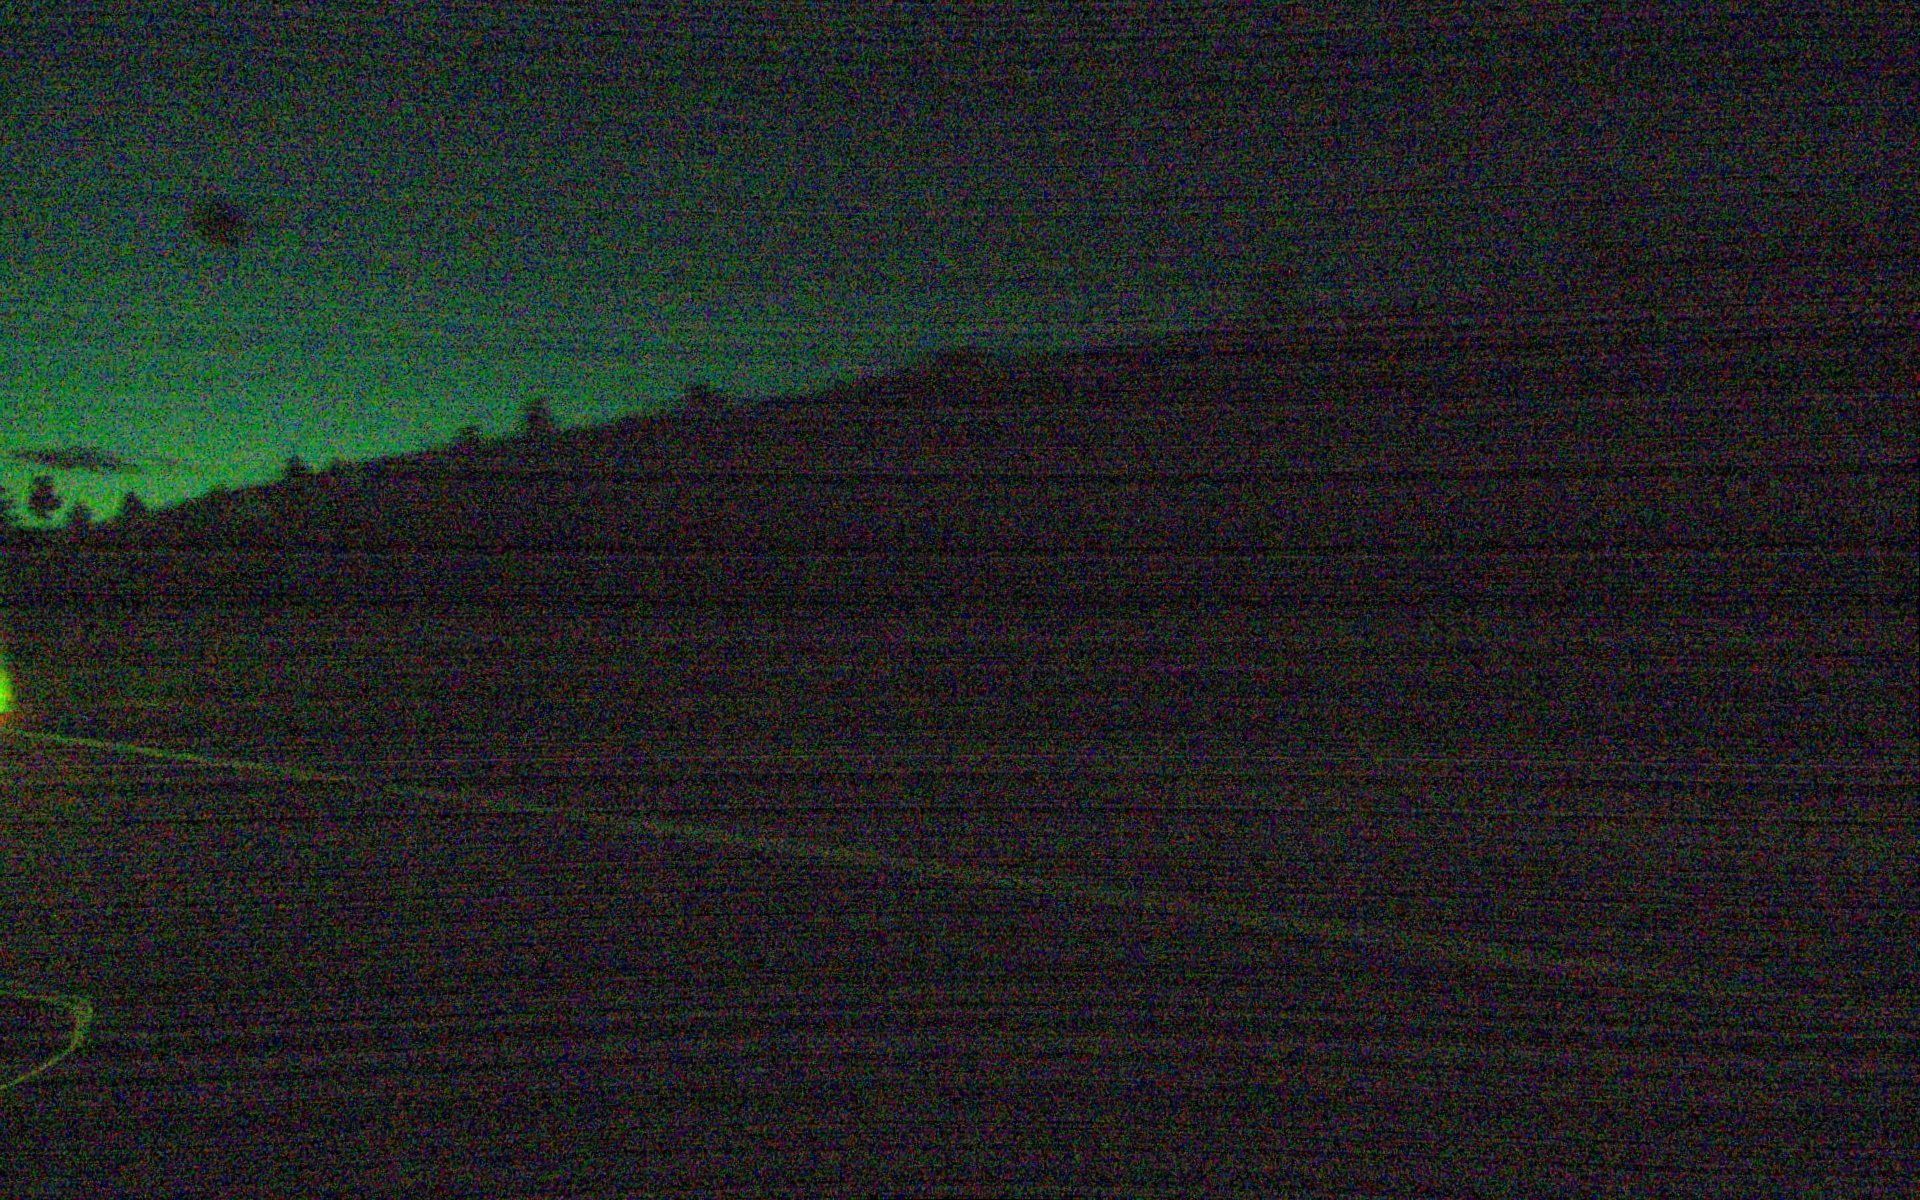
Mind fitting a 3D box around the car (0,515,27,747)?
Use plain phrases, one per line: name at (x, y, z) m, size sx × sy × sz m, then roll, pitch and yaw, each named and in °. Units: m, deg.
car at (-13.864, 0.395, 12.441) m, size 5.644 × 2.681 × 2.028 m, roll -1°, pitch -1°, yaw 33°
